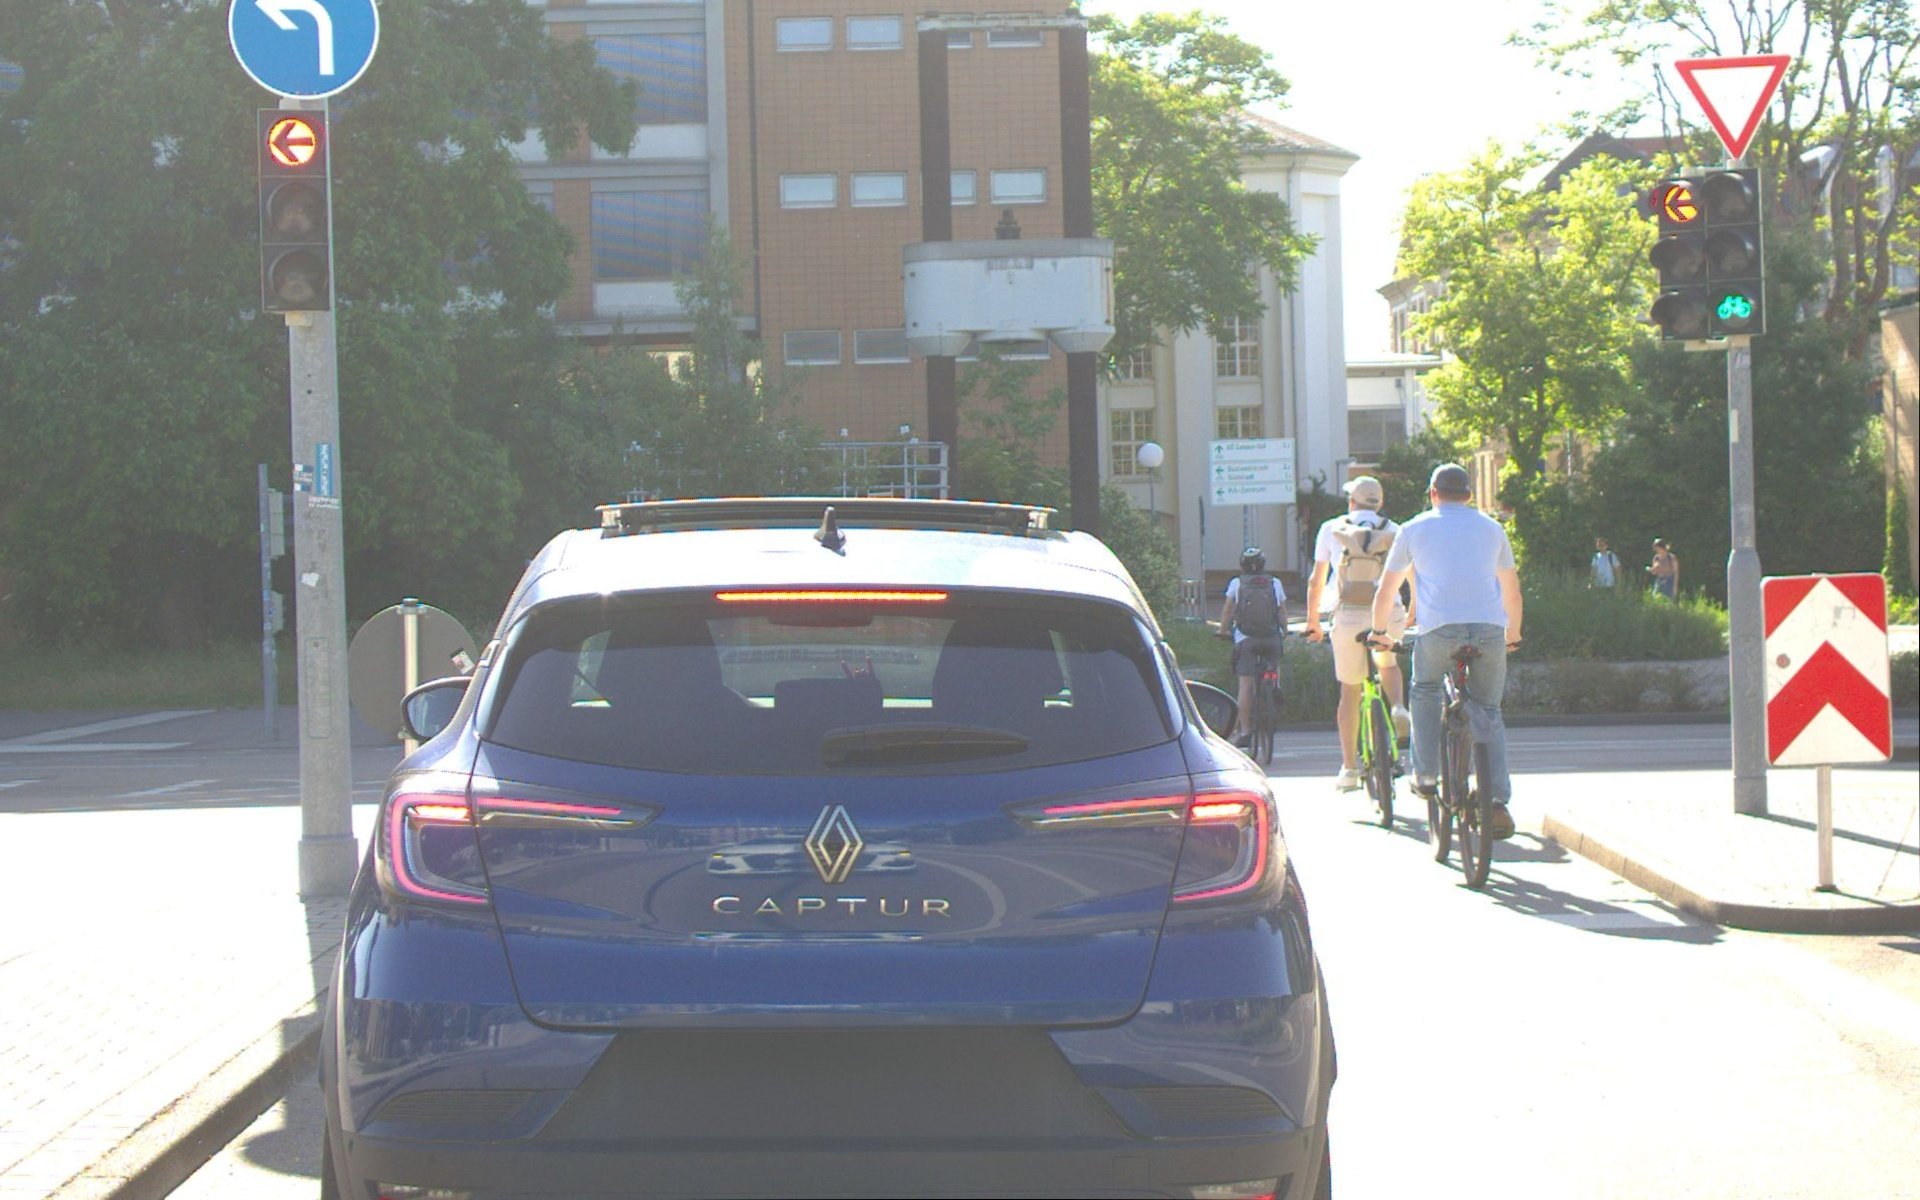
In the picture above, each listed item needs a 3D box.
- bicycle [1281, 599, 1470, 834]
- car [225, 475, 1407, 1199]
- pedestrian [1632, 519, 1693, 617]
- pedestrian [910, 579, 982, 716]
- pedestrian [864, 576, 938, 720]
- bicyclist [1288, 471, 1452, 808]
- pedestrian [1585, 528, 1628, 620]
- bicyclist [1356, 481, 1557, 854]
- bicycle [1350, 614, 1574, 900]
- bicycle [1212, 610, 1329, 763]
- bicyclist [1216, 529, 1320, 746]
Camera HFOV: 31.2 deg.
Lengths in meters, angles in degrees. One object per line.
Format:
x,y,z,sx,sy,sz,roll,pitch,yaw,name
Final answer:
2.212,0.597,18.501,0.746,1.161,1.870,-1,1,-1,bicycle
-0.256,0.597,7.414,1.876,1.612,3.798,1,1,-1,car
11.896,-0.543,58.226,0.733,1.637,0.678,0,0,-36,pedestrian
-0.183,0.613,44.961,0.734,1.776,0.731,1,0,17,pedestrian
-0.745,0.603,43.867,0.734,1.810,0.731,1,0,17,pedestrian
2.198,0.202,18.521,0.719,1.756,0.978,-1,1,-1,bicyclist
11.662,-0.467,61.976,0.676,1.637,0.735,1,0,16,pedestrian
2.222,0.290,15.468,0.719,1.611,0.978,-1,1,-1,bicyclist
2.224,0.667,15.440,0.716,1.161,1.870,-1,1,0,bicycle
2.520,0.687,28.081,0.746,1.161,1.870,-1,1,-1,bicycle
2.513,0.296,28.148,0.719,1.729,0.978,-1,1,-1,bicyclist
